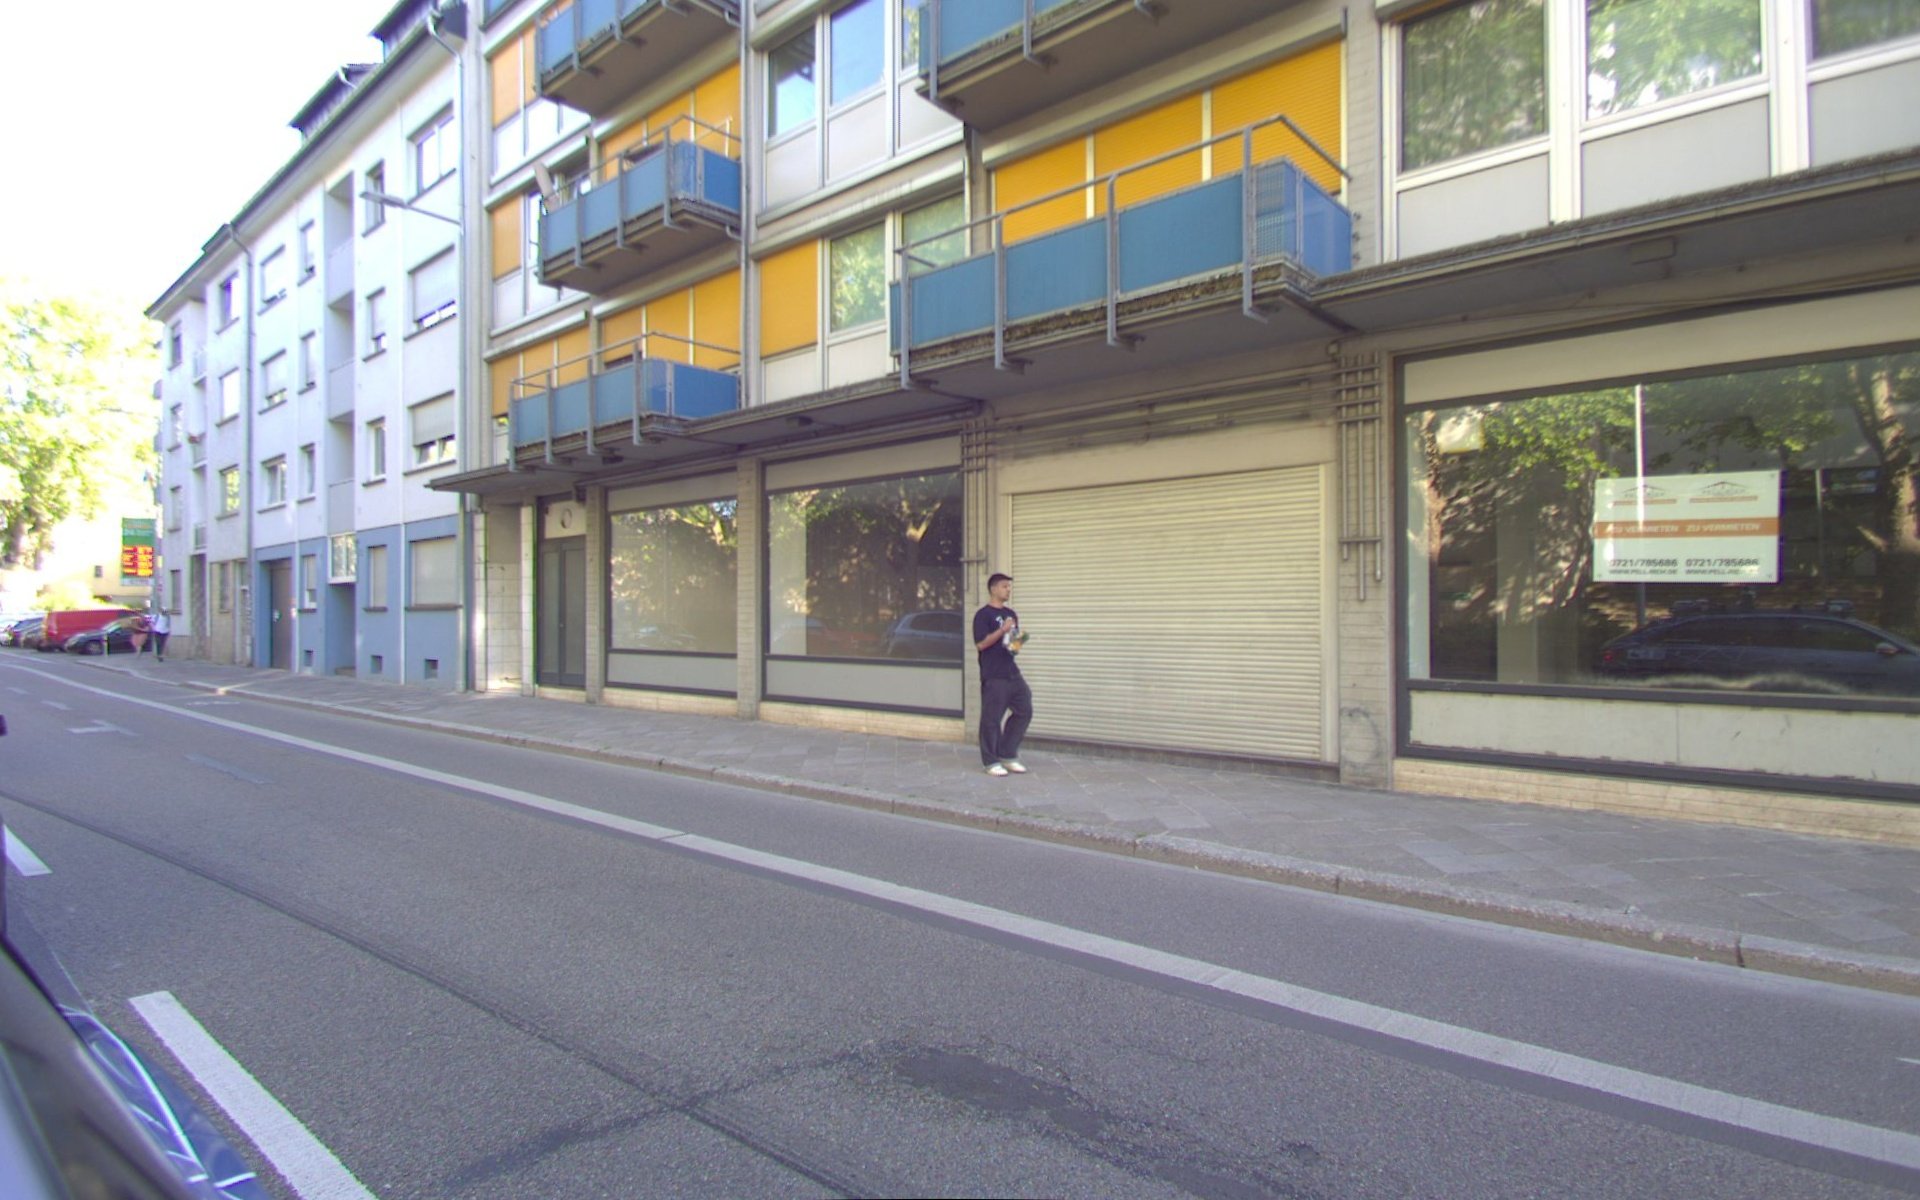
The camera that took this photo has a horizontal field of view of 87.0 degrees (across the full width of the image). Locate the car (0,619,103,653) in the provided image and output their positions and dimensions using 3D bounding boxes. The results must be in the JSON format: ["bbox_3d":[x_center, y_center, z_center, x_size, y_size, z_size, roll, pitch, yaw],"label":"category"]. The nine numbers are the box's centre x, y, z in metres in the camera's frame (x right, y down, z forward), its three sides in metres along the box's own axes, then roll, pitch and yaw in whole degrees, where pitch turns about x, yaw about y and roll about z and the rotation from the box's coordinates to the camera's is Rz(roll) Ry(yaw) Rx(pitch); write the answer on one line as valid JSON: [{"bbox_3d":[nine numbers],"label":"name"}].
[{"bbox_3d":[-55.976,2.166,61.999,2.314,1.952,4.978,-1,-1,41],"label":"car"}]

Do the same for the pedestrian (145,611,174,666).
[{"bbox_3d":[-26.075,1.238,32.957,0.756,1.760,0.600,-1,0,41],"label":"pedestrian"}]

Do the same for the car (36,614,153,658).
[{"bbox_3d":[-40.596,1.640,47.528,1.866,1.952,3.946,-1,-1,41],"label":"car"}]

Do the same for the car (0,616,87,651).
[{"bbox_3d":[-59.350,2.106,64.725,2.186,2.164,5.077,-1,-1,41],"label":"car"}]

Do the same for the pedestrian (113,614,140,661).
[{"bbox_3d":[-29.634,1.325,35.986,0.842,1.654,0.596,-1,0,41],"label":"pedestrian"}]

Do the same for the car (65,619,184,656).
[{"bbox_3d":[-37.883,1.684,45.955,1.742,1.572,3.946,-1,-1,41],"label":"car"}]

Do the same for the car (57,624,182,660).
[{"bbox_3d":[-36.558,1.794,44.089,1.742,1.431,3.946,-1,-1,41],"label":"car"}]

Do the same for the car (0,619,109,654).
[{"bbox_3d":[-54.128,2.139,60.367,2.082,1.952,4.928,-1,-1,41],"label":"car"}]

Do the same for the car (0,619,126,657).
[{"bbox_3d":[-50.303,2.094,56.842,2.186,1.952,5.077,-1,-1,41],"label":"car"}]

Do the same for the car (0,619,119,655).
[{"bbox_3d":[-52.242,2.117,58.730,2.159,1.952,4.990,-1,-1,41],"label":"car"}]

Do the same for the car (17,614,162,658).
[{"bbox_3d":[-42.697,1.708,49.726,2.256,1.995,5.156,-1,-1,41],"label":"car"}]

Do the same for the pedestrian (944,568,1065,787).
[{"bbox_3d":[0.388,0.639,8.796,0.793,1.785,0.655,-1,-1,41],"label":"pedestrian"}]
